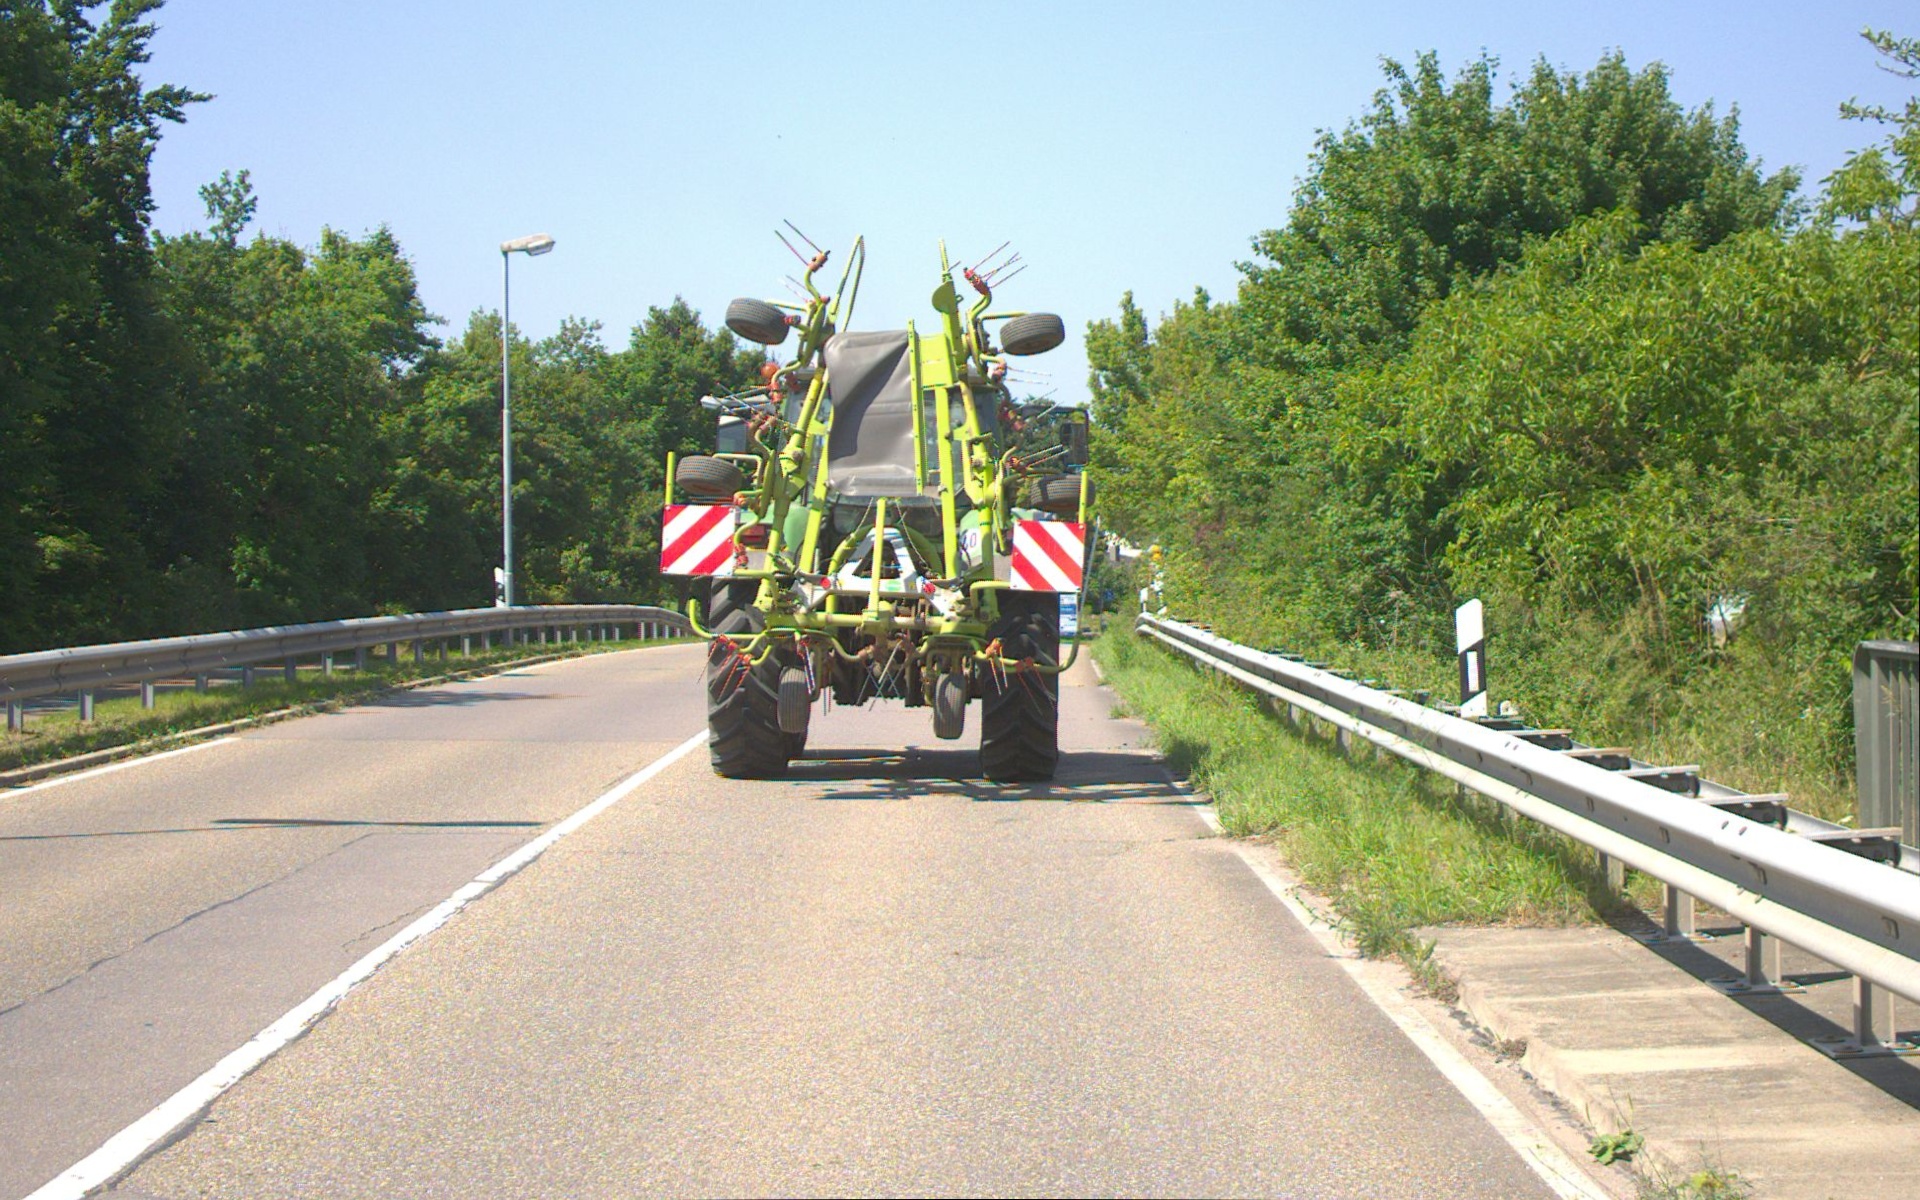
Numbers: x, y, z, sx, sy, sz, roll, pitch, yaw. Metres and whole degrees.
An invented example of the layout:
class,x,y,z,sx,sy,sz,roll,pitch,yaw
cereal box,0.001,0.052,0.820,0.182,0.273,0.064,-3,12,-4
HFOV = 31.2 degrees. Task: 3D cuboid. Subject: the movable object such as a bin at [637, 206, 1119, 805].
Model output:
class,x,y,z,sx,sy,sz,roll,pitch,yaw
movable object such as a bin,-0.457,-0.612,22.695,2.755,3.432,5.670,1,1,0
